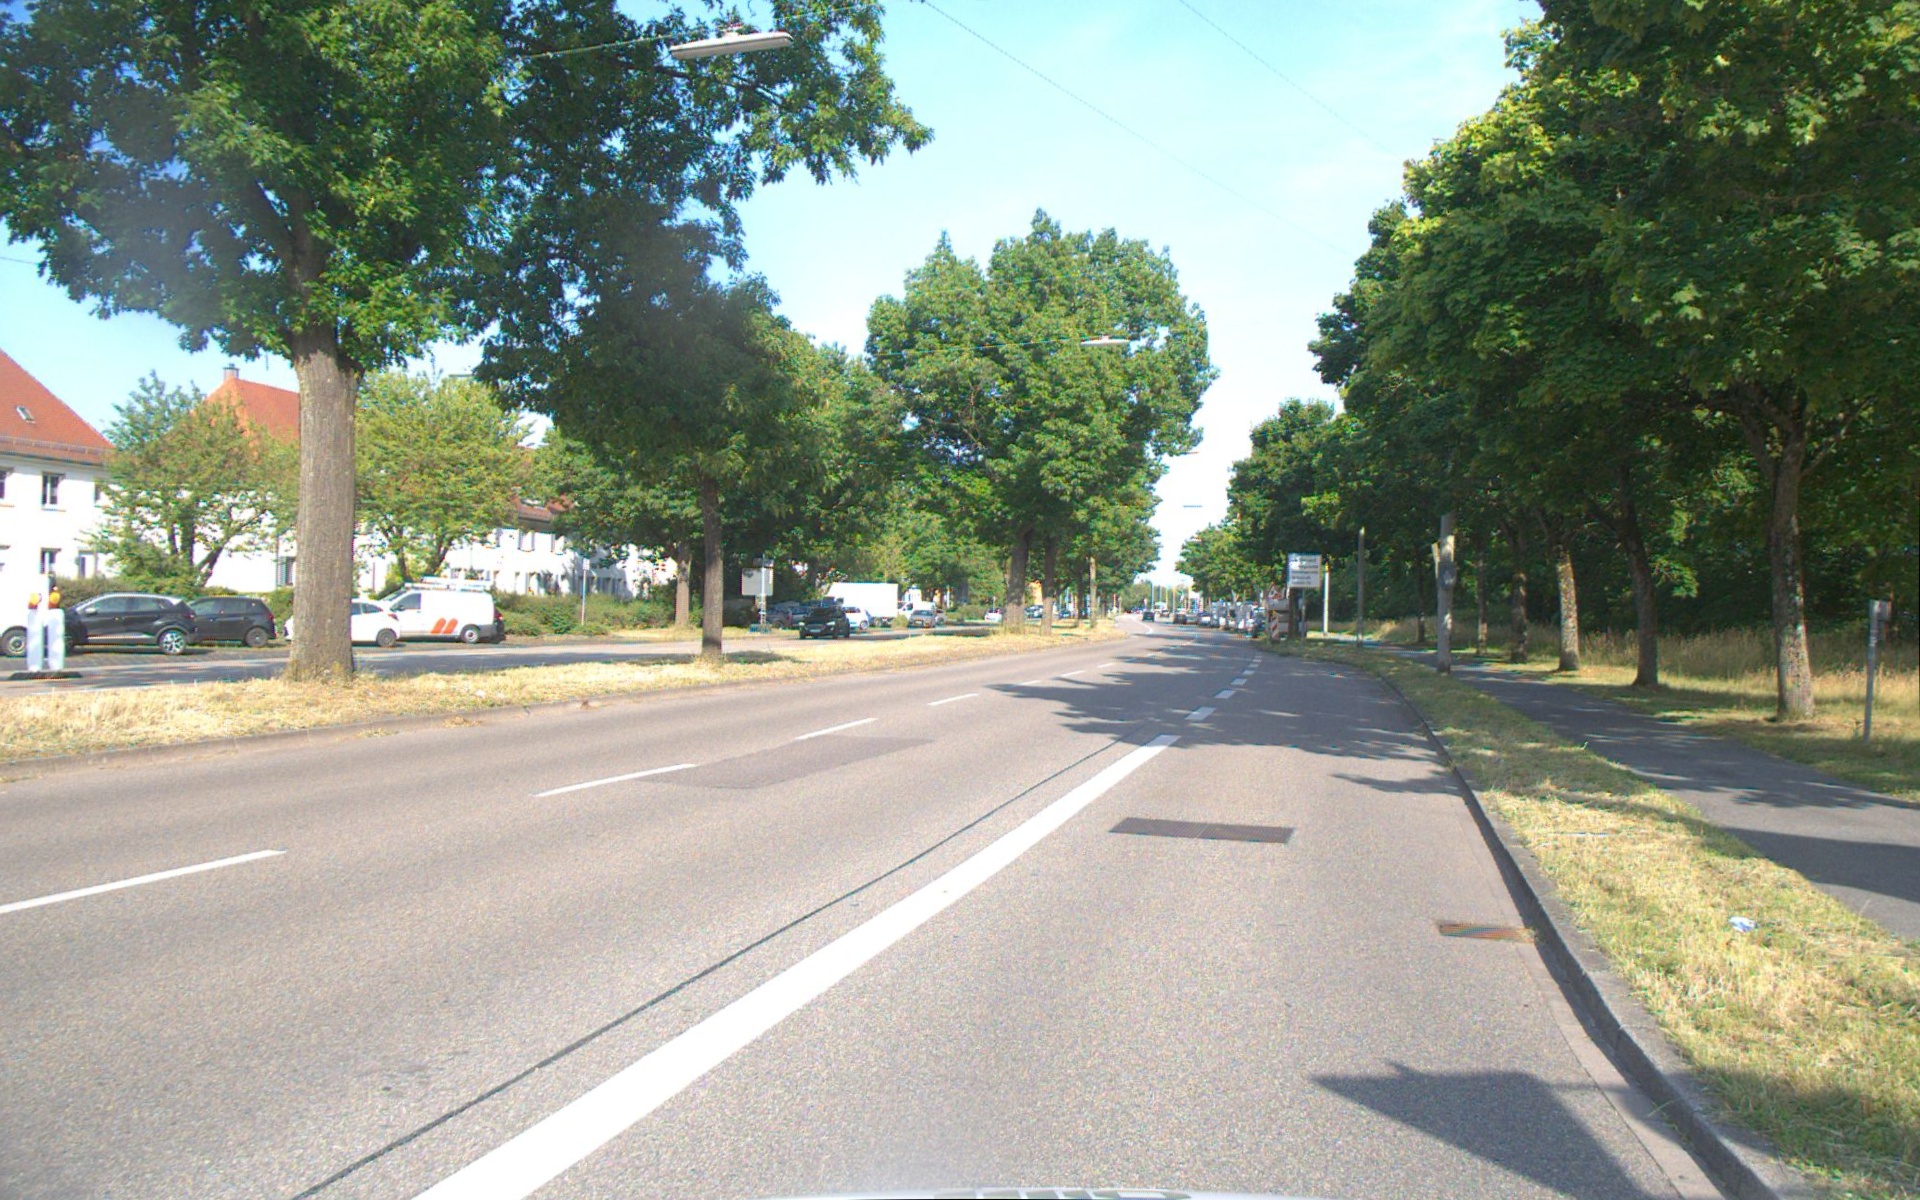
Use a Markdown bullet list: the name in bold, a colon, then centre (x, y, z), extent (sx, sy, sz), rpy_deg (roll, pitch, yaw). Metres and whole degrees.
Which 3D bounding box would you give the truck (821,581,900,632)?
- **truck**: centre (-7.036, 0.487, 117.715), extent (5.448, 3.525, 1.973), rpy_deg (1, -1, -38)

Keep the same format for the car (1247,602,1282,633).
- **car**: centre (20.628, 1.191, 112.112), extent (1.951, 2.049, 4.134), rpy_deg (0, 0, 5)

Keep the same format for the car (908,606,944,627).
- **car**: centre (-2.643, 1.282, 128.486), extent (1.870, 1.476, 4.282), rpy_deg (0, -2, 12)

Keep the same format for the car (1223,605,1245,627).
- **car**: centre (27.107, 1.567, 163.495), extent (1.951, 2.049, 4.003), rpy_deg (0, 0, 7)

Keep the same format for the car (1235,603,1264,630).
- **car**: centre (22.031, 1.250, 126.108), extent (1.951, 2.049, 4.098), rpy_deg (0, 0, 7)

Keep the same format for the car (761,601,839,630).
- **car**: centre (-9.916, 0.956, 102.616), extent (4.480, 1.753, 1.979), rpy_deg (1, -1, -31)

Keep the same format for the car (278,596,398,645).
- **car**: centre (-20.083, 0.658, 53.374), extent (3.385, 1.540, 1.877), rpy_deg (1, -1, -30)

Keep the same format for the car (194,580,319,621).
- **car**: centre (-31.299, 0.017, 73.620), extent (4.857, 1.749, 2.002), rpy_deg (0, 0, 12)

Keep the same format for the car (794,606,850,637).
- **car**: centre (-6.443, 0.997, 77.402), extent (1.673, 1.377, 4.003), rpy_deg (1, 0, 9)

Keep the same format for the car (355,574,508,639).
- **car**: centre (-18.961, 0.253, 59.450), extent (4.918, 2.271, 1.977), rpy_deg (1, -1, -34)

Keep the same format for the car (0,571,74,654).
- **car**: centre (-23.634, 0.291, 39.856), extent (3.861, 1.953, 1.874), rpy_deg (1, -1, -34)

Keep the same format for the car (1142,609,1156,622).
- **car**: centre (27.815, 2.316, 243.543), extent (1.774, 1.736, 4.001), rpy_deg (0, -2, 3)

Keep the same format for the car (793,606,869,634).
- **car**: centre (-8.328, 1.288, 106.926), extent (4.480, 1.753, 1.979), rpy_deg (1, -1, -31)

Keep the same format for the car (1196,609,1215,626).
- **car**: centre (30.420, 2.120, 205.139), extent (1.952, 2.049, 4.001), rpy_deg (0, 0, 2)

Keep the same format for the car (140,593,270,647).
- **car**: centre (-22.405, 0.593, 49.097), extent (3.385, 1.540, 1.877), rpy_deg (1, -1, -30)

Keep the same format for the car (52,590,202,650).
- **car**: centre (-21.959, 0.524, 43.588), extent (3.450, 1.540, 1.877), rpy_deg (1, 0, -30)
